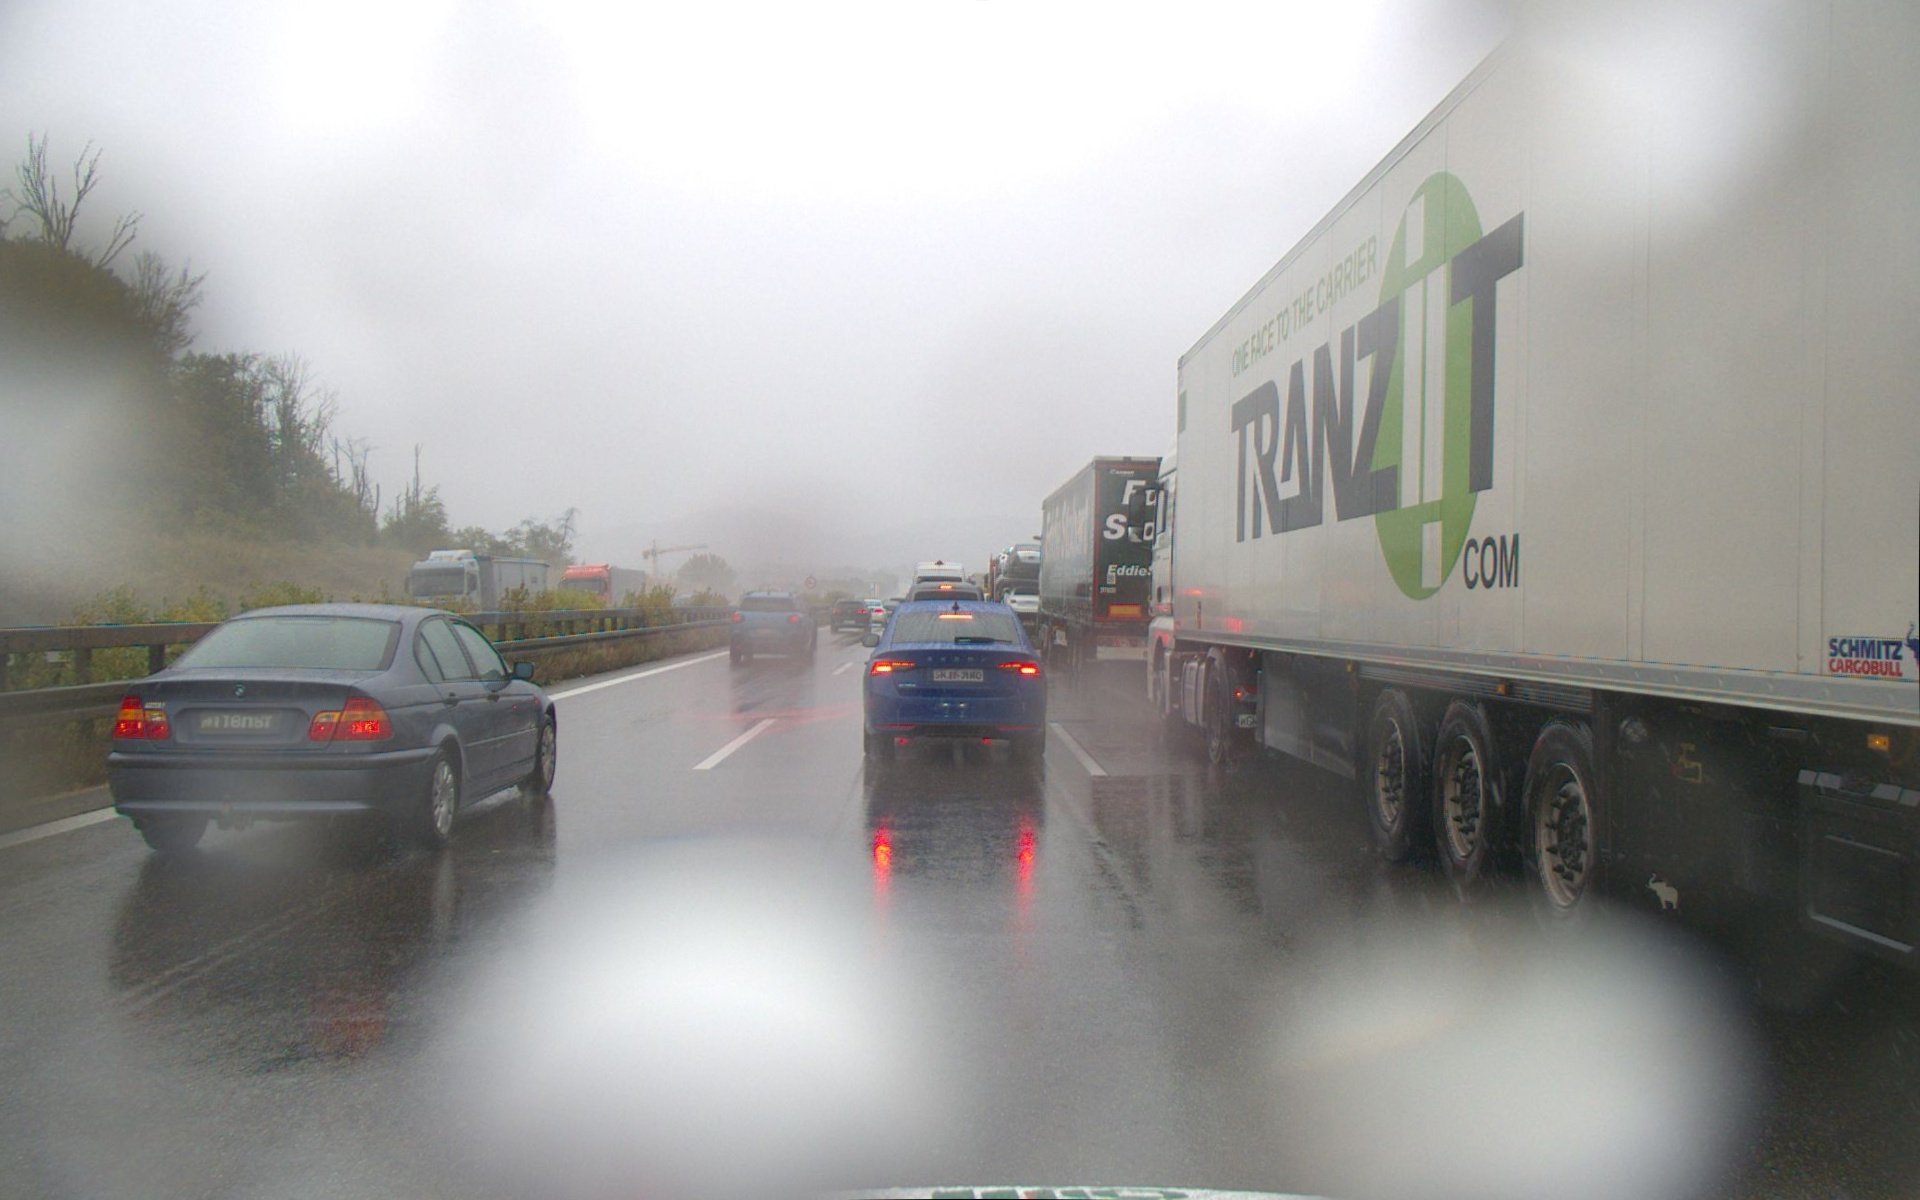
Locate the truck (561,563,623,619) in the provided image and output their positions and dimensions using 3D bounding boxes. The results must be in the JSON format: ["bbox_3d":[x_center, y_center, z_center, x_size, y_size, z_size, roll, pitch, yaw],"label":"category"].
[{"bbox_3d":[-21.729,-0.499,97.864,2.631,3.207,4.605,1,0,-1],"label":"truck"}]

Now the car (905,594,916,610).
[{"bbox_3d":[-5.614,0.237,187.856,1.168,1.780,3.075,0,1,-1],"label":"car"}]

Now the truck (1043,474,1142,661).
[{"bbox_3d":[3.120,-0.759,39.692,2.005,4.266,3.999,0,0,-1],"label":"truck"}]

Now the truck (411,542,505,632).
[{"bbox_3d":[-21.250,-0.539,70.237,2.632,3.674,4.604,1,0,-2],"label":"truck"}]

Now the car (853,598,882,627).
[{"bbox_3d":[-5.055,0.680,90.772,1.410,1.560,3.321,0,0,-1],"label":"car"}]

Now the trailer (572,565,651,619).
[{"bbox_3d":[-21.780,-0.478,103.972,2.631,3.207,11.082,1,0,0],"label":"trailer"}]

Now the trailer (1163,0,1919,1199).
[{"bbox_3d":[3.643,-0.580,11.135,2.577,4.083,14.627,0,0,-1],"label":"trailer"}]

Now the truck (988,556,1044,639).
[{"bbox_3d":[2.459,-0.170,74.077,1.953,3.481,8.029,0,1,-2],"label":"truck"}]

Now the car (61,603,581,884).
[{"bbox_3d":[-3.779,0.743,10.646,1.683,1.424,4.230,0,0,0],"label":"car"}]

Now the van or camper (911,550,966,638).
[{"bbox_3d":[-0.737,-0.217,55.994,1.761,2.855,4.767,0,0,-1],"label":"van or camper"}]

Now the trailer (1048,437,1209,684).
[{"bbox_3d":[3.211,-0.723,34.261,2.005,4.249,11.446,0,0,-1],"label":"trailer"}]

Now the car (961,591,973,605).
[{"bbox_3d":[0.938,-0.261,217.561,1.419,1.815,3.409,1,0,-1],"label":"car"}]

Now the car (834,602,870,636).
[{"bbox_3d":[-4.802,0.811,73.634,1.410,1.445,3.321,0,0,-1],"label":"car"}]

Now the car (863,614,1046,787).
[{"bbox_3d":[-0.046,0.906,16.570,1.602,1.470,4.000,0,0,0],"label":"car"}]

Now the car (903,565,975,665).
[{"bbox_3d":[-0.405,0.265,31.825,1.309,1.811,3.321,0,0,-1],"label":"car"}]

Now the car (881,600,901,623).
[{"bbox_3d":[-5.582,0.955,133.954,1.419,1.815,3.409,1,0,-1],"label":"car"}]

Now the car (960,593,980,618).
[{"bbox_3d":[0.774,0.421,125.871,1.419,1.815,3.409,1,0,-1],"label":"car"}]

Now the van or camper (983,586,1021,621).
[{"bbox_3d":[2.100,0.155,83.956,1.736,1.653,4.483,0,1,-1],"label":"van or camper"}]

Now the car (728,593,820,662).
[{"bbox_3d":[-4.317,0.608,38.920,1.686,1.550,4.000,0,0,0],"label":"car"}]

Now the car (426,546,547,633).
[{"bbox_3d":[-21.468,-0.452,75.715,2.632,3.674,10.970,1,0,-1],"label":"car"}]

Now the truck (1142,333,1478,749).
[{"bbox_3d":[3.558,-0.571,17.960,2.577,3.894,4.790,0,0,-1],"label":"truck"}]
